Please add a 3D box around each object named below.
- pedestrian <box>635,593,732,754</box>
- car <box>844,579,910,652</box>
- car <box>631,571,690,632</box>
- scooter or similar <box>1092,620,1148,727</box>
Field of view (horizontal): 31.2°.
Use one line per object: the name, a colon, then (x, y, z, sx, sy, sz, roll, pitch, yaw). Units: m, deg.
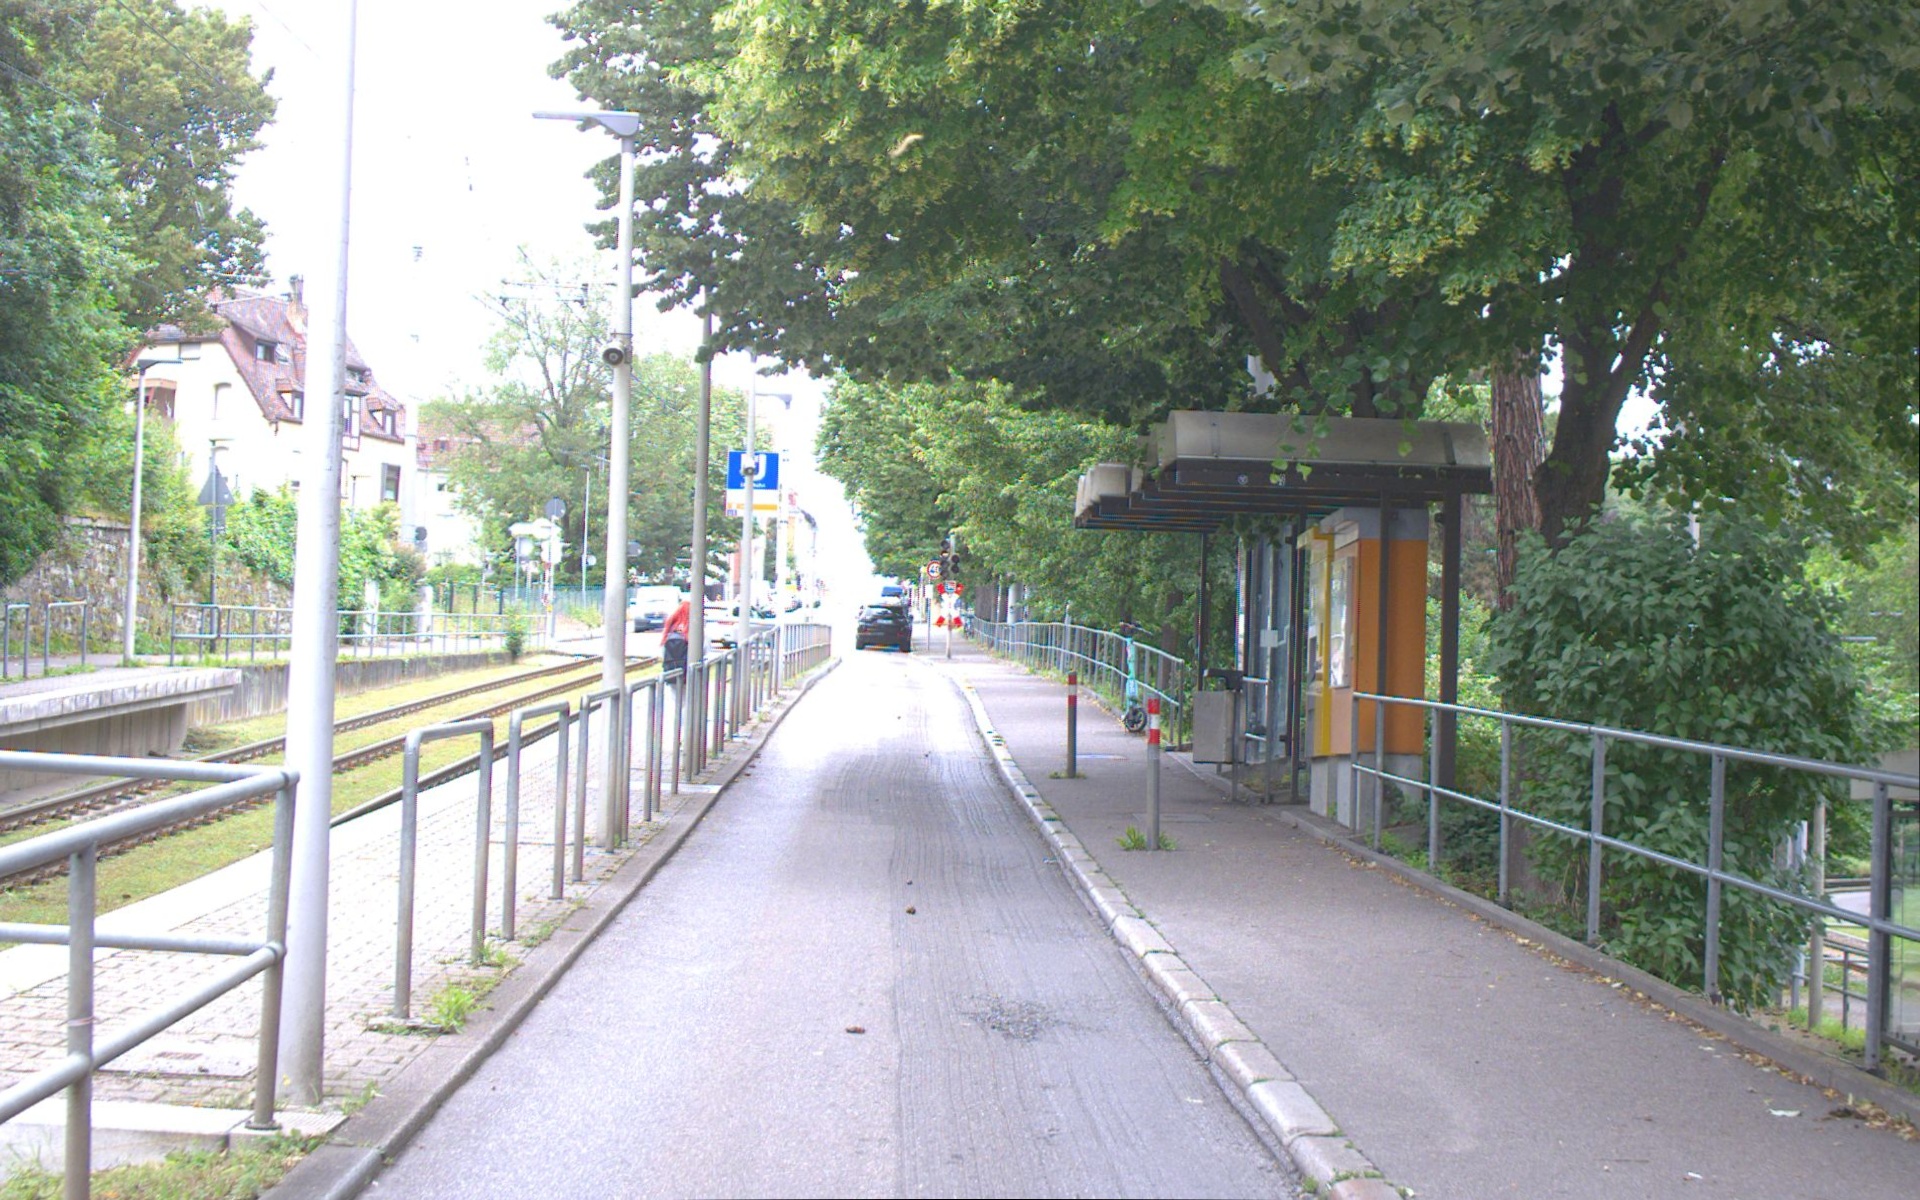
pedestrian: (-2.554, 0.671, 31.827, 0.742, 1.404, 0.747, 5, 1, -1)
car: (-2.781, 0.543, 114.811, 1.993, 2.138, 4.000, 5, -3, -1)
car: (-12.208, 0.074, 140.416, 1.993, 2.138, 4.000, 5, -3, -1)
scooter or similar: (1.777, 0.824, 38.287, 0.342, 1.153, 1.147, 5, -3, -7)
